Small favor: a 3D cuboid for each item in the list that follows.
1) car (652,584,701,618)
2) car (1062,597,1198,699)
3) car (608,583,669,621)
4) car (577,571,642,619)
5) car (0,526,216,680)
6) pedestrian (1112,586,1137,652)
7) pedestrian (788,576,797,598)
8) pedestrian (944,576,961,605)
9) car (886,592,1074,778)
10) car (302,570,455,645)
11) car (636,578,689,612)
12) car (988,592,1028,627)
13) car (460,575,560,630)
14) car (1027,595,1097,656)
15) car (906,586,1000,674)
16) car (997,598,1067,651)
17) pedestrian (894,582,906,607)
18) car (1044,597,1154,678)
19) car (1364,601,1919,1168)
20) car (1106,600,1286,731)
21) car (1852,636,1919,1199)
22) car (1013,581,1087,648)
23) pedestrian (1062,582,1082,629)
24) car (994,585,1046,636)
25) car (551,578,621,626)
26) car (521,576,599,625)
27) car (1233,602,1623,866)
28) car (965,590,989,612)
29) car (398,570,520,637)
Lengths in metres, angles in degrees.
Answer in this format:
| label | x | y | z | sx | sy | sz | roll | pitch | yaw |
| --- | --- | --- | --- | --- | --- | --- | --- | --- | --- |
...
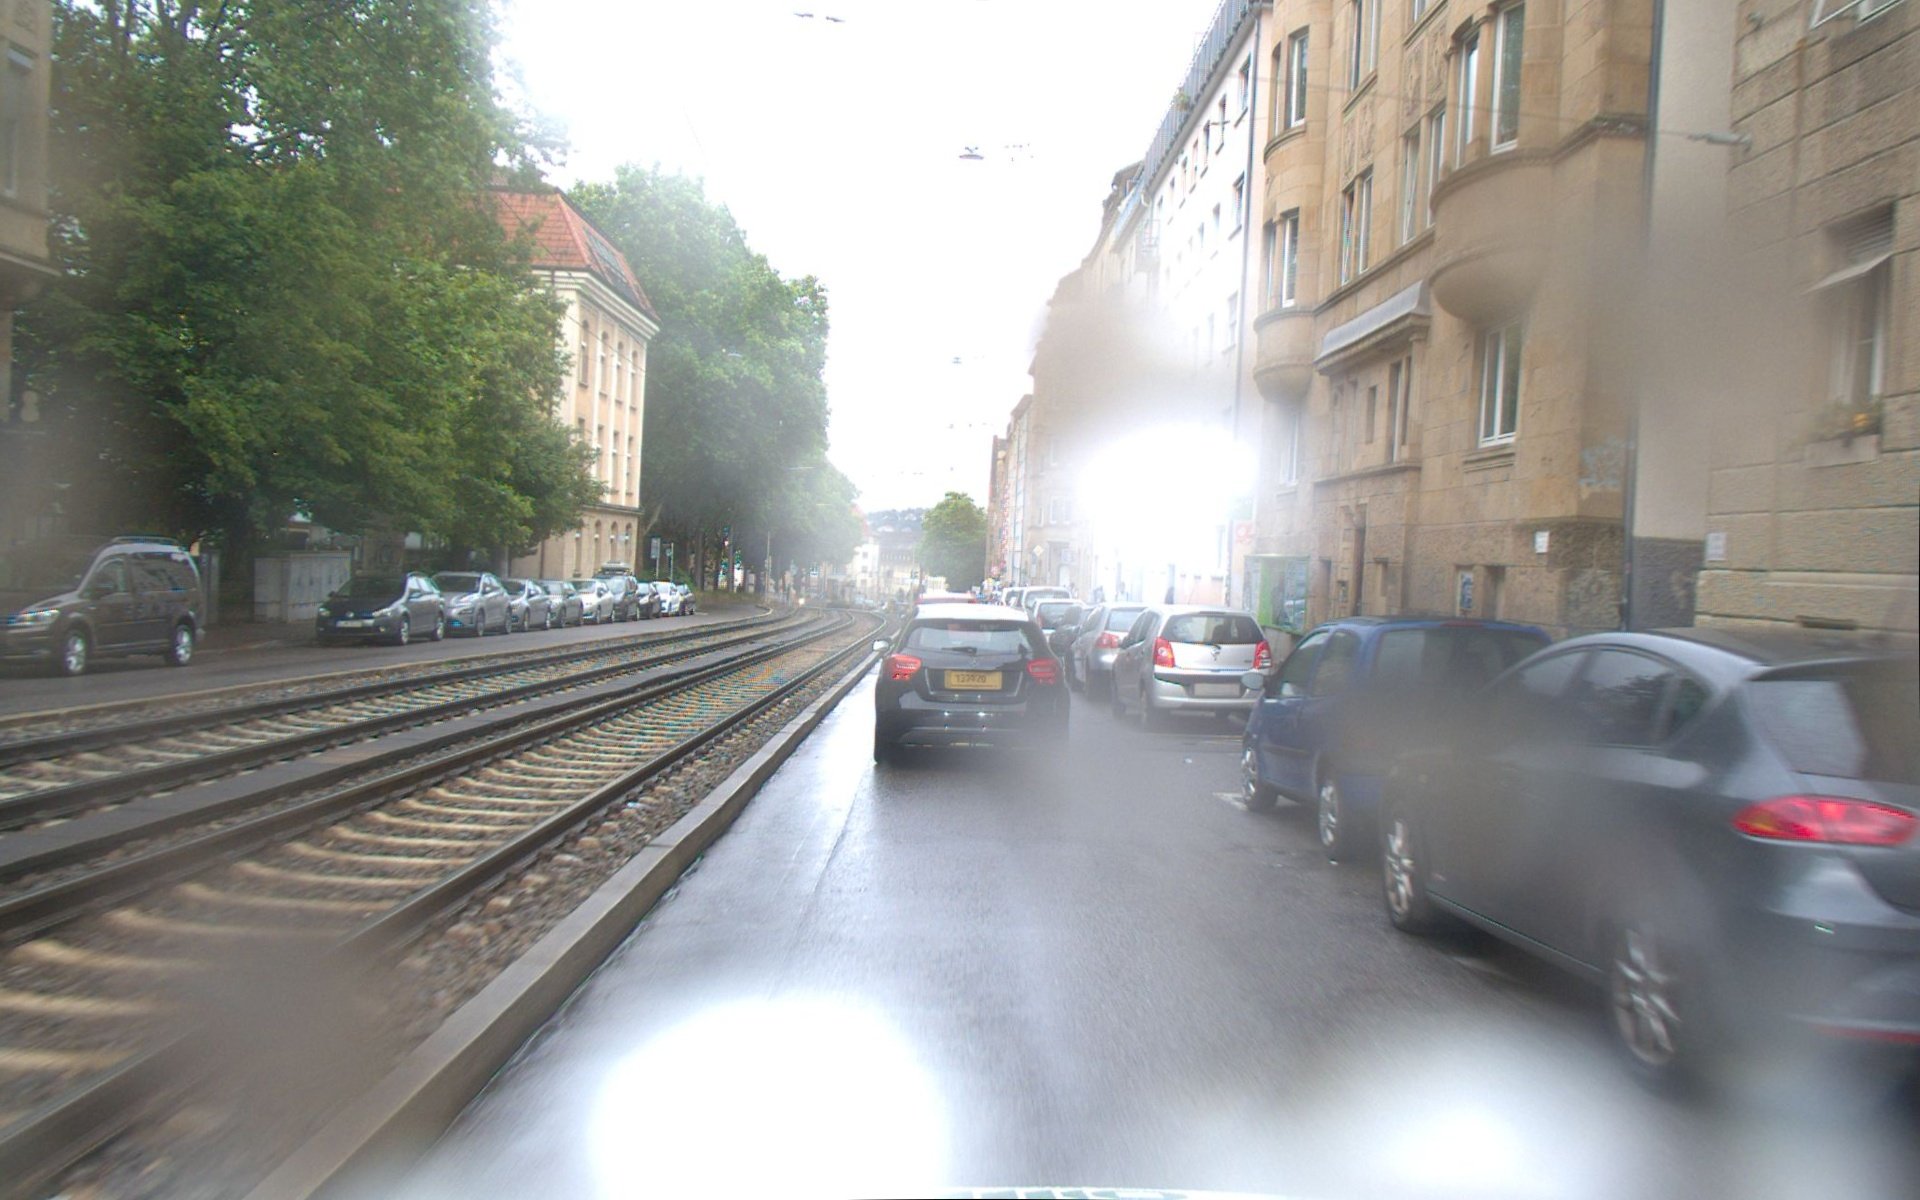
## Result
| label | x | y | z | sx | sy | sz | roll | pitch | yaw |
| --- | --- | --- | --- | --- | --- | --- | --- | --- | --- |
| car | -12.823 | 0.027 | 75.006 | 1.581 | 1.454 | 3.852 | 1 | 1 | -1 |
| car | 2.621 | 0.706 | 26.257 | 1.634 | 1.459 | 3.955 | 1 | 0 | -2 |
| car | -12.786 | 0.067 | 65.974 | 1.640 | 1.438 | 4.010 | 0 | 0 | 1 |
| car | -12.575 | -0.180 | 59.573 | 1.544 | 1.672 | 4.071 | 0 | 0 | -1 |
| car | -12.157 | 0.016 | 22.677 | 1.764 | 1.879 | 4.818 | 0 | 0 | -1 |
| pedestrian | 4.442 | 0.507 | 44.802 | 0.594 | 1.794 | 0.688 | 0 | 0 | -2 |
| pedestrian | -13.429 | -1.038 | 132.503 | 0.523 | 1.784 | 0.607 | 3 | 0 | 0 |
| pedestrian | -0.556 | -0.693 | 117.288 | 1.115 | 2.033 | 1.171 | 0 | 0 | -5 |
| car | 0.140 | 0.711 | 15.764 | 1.548 | 1.531 | 3.573 | 2 | 0 | -1 |
| car | -12.242 | 0.136 | 35.139 | 1.812 | 1.489 | 4.548 | 0 | 0 | -2 |
| car | -12.630 | -0.204 | 70.408 | 1.469 | 1.415 | 3.987 | 0 | 0 | 1 |
| car | 2.217 | 0.413 | 77.310 | 1.659 | 1.556 | 4.000 | 2 | 0 | 0 |
| car | -12.423 | 0.056 | 45.913 | 1.718 | 1.438 | 4.152 | 0 | 0 | -1 |
| car | 2.597 | 0.626 | 42.734 | 1.538 | 1.487 | 3.599 | 1 | 0 | 0 |
| car | -0.152 | 0.562 | 33.484 | 1.749 | 1.608 | 4.000 | 2 | 0 | -1 |
| car | 2.213 | 0.733 | 52.065 | 1.833 | 1.481 | 4.901 | 2 | 0 | -2 |
| pedestrian | -4.087 | -0.381 | 112.125 | 0.789 | 1.662 | 0.892 | 0 | 0 | 0 |
| car | 2.655 | 0.680 | 32.442 | 1.636 | 1.434 | 4.310 | 1 | 0 | -2 |
| car | 3.035 | 0.781 | 6.493 | 1.751 | 1.488 | 4.082 | 1 | 0 | -2 |
| car | 2.865 | 0.747 | 20.738 | 1.558 | 1.459 | 3.682 | 1 | 0 | -3 |
| car | 2.929 | 0.824 | 1.766 | 1.672 | 1.422 | 4.017 | 1 | 0 | -2 |
| car | 2.516 | 0.381 | 47.071 | 1.754 | 1.796 | 4.211 | 1 | 0 | -1 |
| pedestrian | 4.518 | 0.215 | 66.948 | 0.730 | 1.866 | 1.039 | -1 | 0 | 1 |
| car | 2.214 | 0.351 | 61.809 | 1.790 | 1.781 | 4.467 | 2 | 0 | 1 |
| car | -12.500 | 0.048 | 55.460 | 1.508 | 1.531 | 4.153 | 0 | 0 | -1 |
| car | -12.201 | 0.015 | 50.623 | 1.508 | 1.438 | 3.952 | 0 | 0 | -1 |
| car | 2.936 | 0.764 | 11.081 | 1.512 | 1.439 | 3.445 | 1 | 0 | -2 |
| car | 1.290 | 0.091 | 129.430 | 1.790 | 1.646 | 3.864 | 0 | 1 | 0 |
| car | -12.248 | 0.070 | 40.715 | 1.718 | 1.563 | 4.542 | 0 | 0 | -1 |
